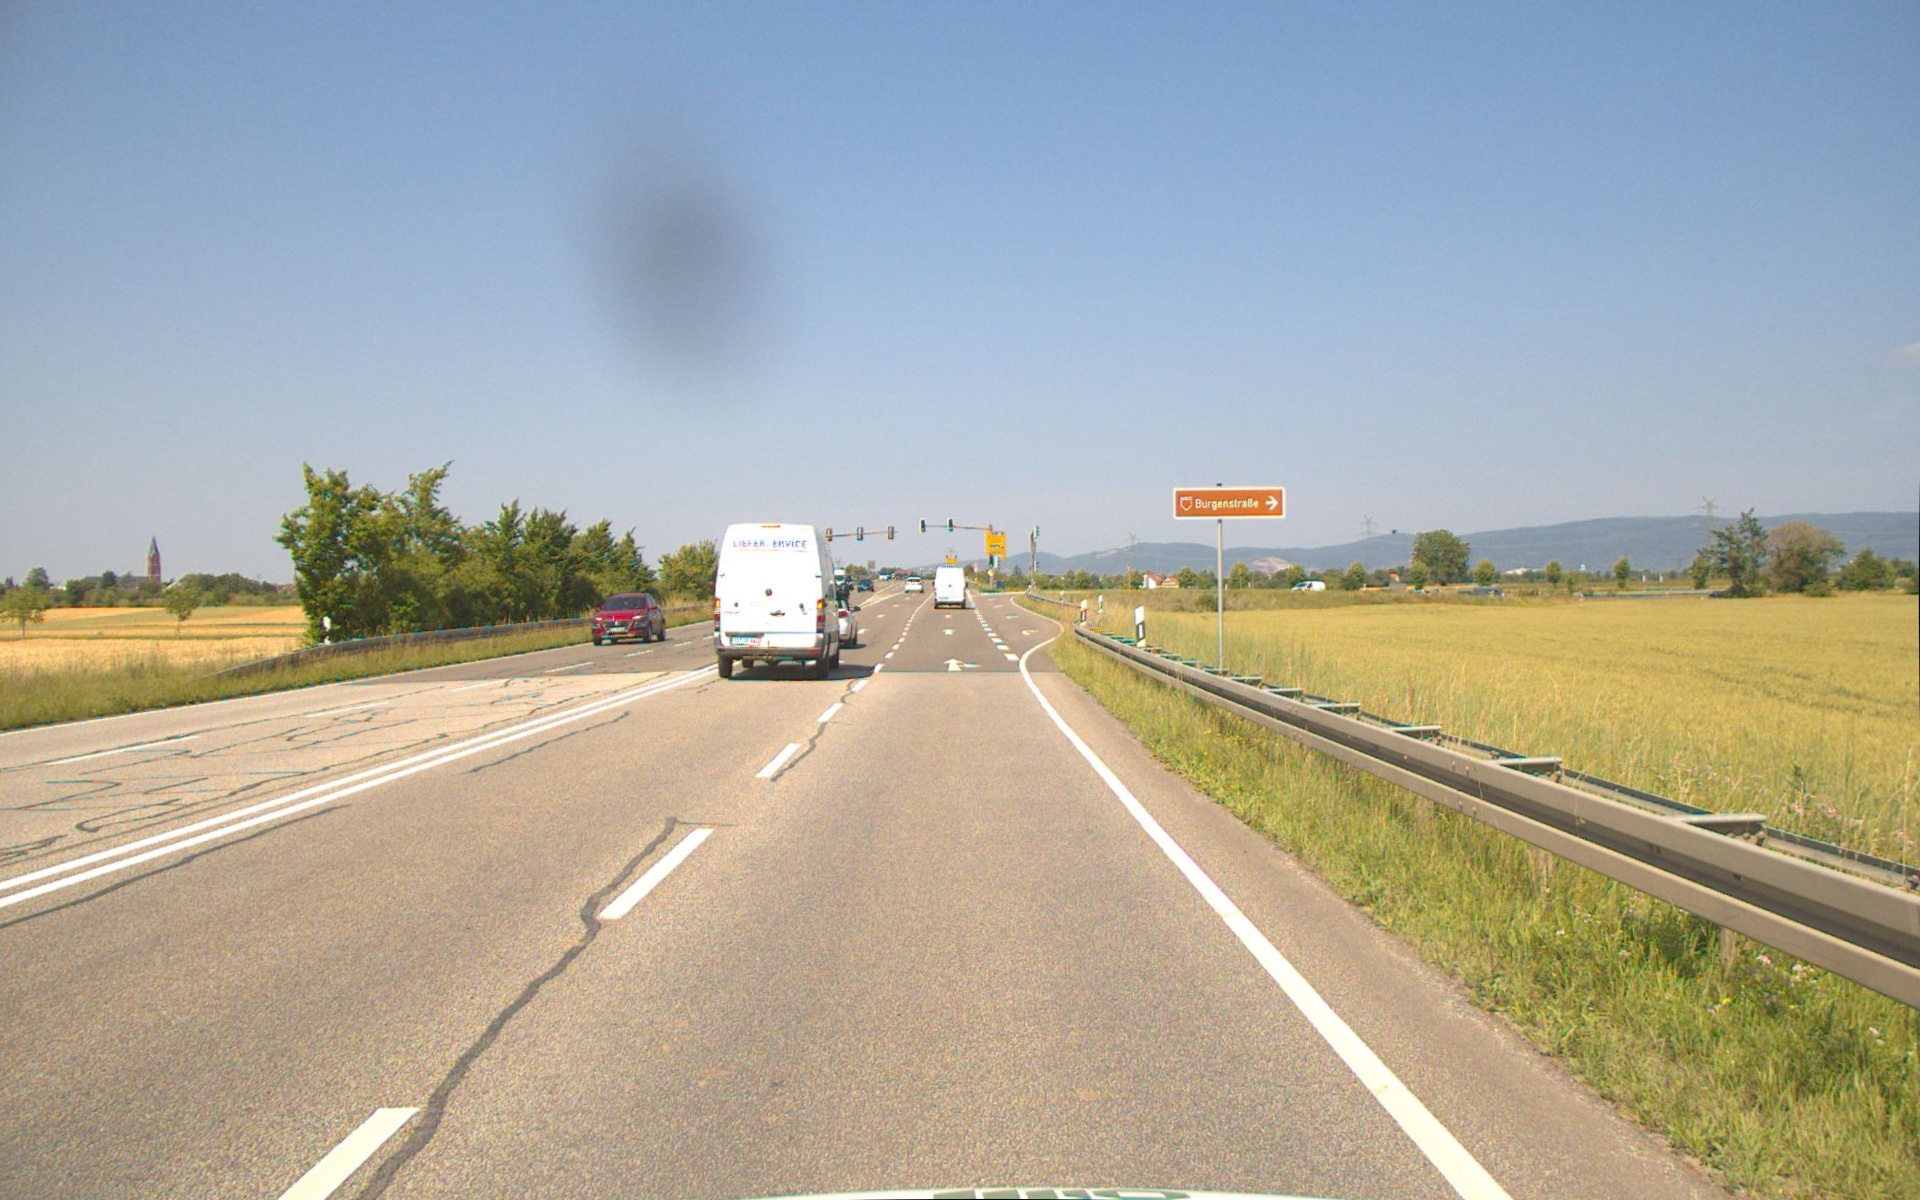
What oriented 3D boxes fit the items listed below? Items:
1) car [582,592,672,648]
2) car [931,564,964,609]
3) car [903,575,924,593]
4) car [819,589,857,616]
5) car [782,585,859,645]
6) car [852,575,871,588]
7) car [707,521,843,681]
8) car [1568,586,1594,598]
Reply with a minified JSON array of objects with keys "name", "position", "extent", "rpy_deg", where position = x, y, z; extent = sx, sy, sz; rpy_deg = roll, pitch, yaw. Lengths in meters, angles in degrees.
[{"name":"car","position":[-10.685,0.612,53.348],"extent":[1.953,1.589,4.311],"rpy_deg":[-2,1,0]},{"name":"car","position":[-0.800,-0.831,103.217],"extent":[1.953,2.742,4.969],"rpy_deg":[-1,0,-1]},{"name":"car","position":[-4.700,-1.615,166.656],"extent":[1.953,1.732,4.274],"rpy_deg":[1,0,0]},{"name":"car","position":[-7.163,0.134,97.474],"extent":[1.819,1.448,4.000],"rpy_deg":[-2,0,1]},{"name":"car","position":[-3.700,0.370,44.465],"extent":[1.763,1.534,4.195],"rpy_deg":[0,0,-1]},{"name":"car","position":[-11.165,-2.088,187.313],"extent":[1.819,1.448,4.000],"rpy_deg":[-1,0,1]},{"name":"car","position":[-3.317,0.022,30.717],"extent":[1.998,2.666,5.739],"rpy_deg":[1,0,-2]},{"name":"car","position":[85.223,-1.067,226.920],"extent":[3.437,1.512,1.632],"rpy_deg":[1,0,-31]}]
